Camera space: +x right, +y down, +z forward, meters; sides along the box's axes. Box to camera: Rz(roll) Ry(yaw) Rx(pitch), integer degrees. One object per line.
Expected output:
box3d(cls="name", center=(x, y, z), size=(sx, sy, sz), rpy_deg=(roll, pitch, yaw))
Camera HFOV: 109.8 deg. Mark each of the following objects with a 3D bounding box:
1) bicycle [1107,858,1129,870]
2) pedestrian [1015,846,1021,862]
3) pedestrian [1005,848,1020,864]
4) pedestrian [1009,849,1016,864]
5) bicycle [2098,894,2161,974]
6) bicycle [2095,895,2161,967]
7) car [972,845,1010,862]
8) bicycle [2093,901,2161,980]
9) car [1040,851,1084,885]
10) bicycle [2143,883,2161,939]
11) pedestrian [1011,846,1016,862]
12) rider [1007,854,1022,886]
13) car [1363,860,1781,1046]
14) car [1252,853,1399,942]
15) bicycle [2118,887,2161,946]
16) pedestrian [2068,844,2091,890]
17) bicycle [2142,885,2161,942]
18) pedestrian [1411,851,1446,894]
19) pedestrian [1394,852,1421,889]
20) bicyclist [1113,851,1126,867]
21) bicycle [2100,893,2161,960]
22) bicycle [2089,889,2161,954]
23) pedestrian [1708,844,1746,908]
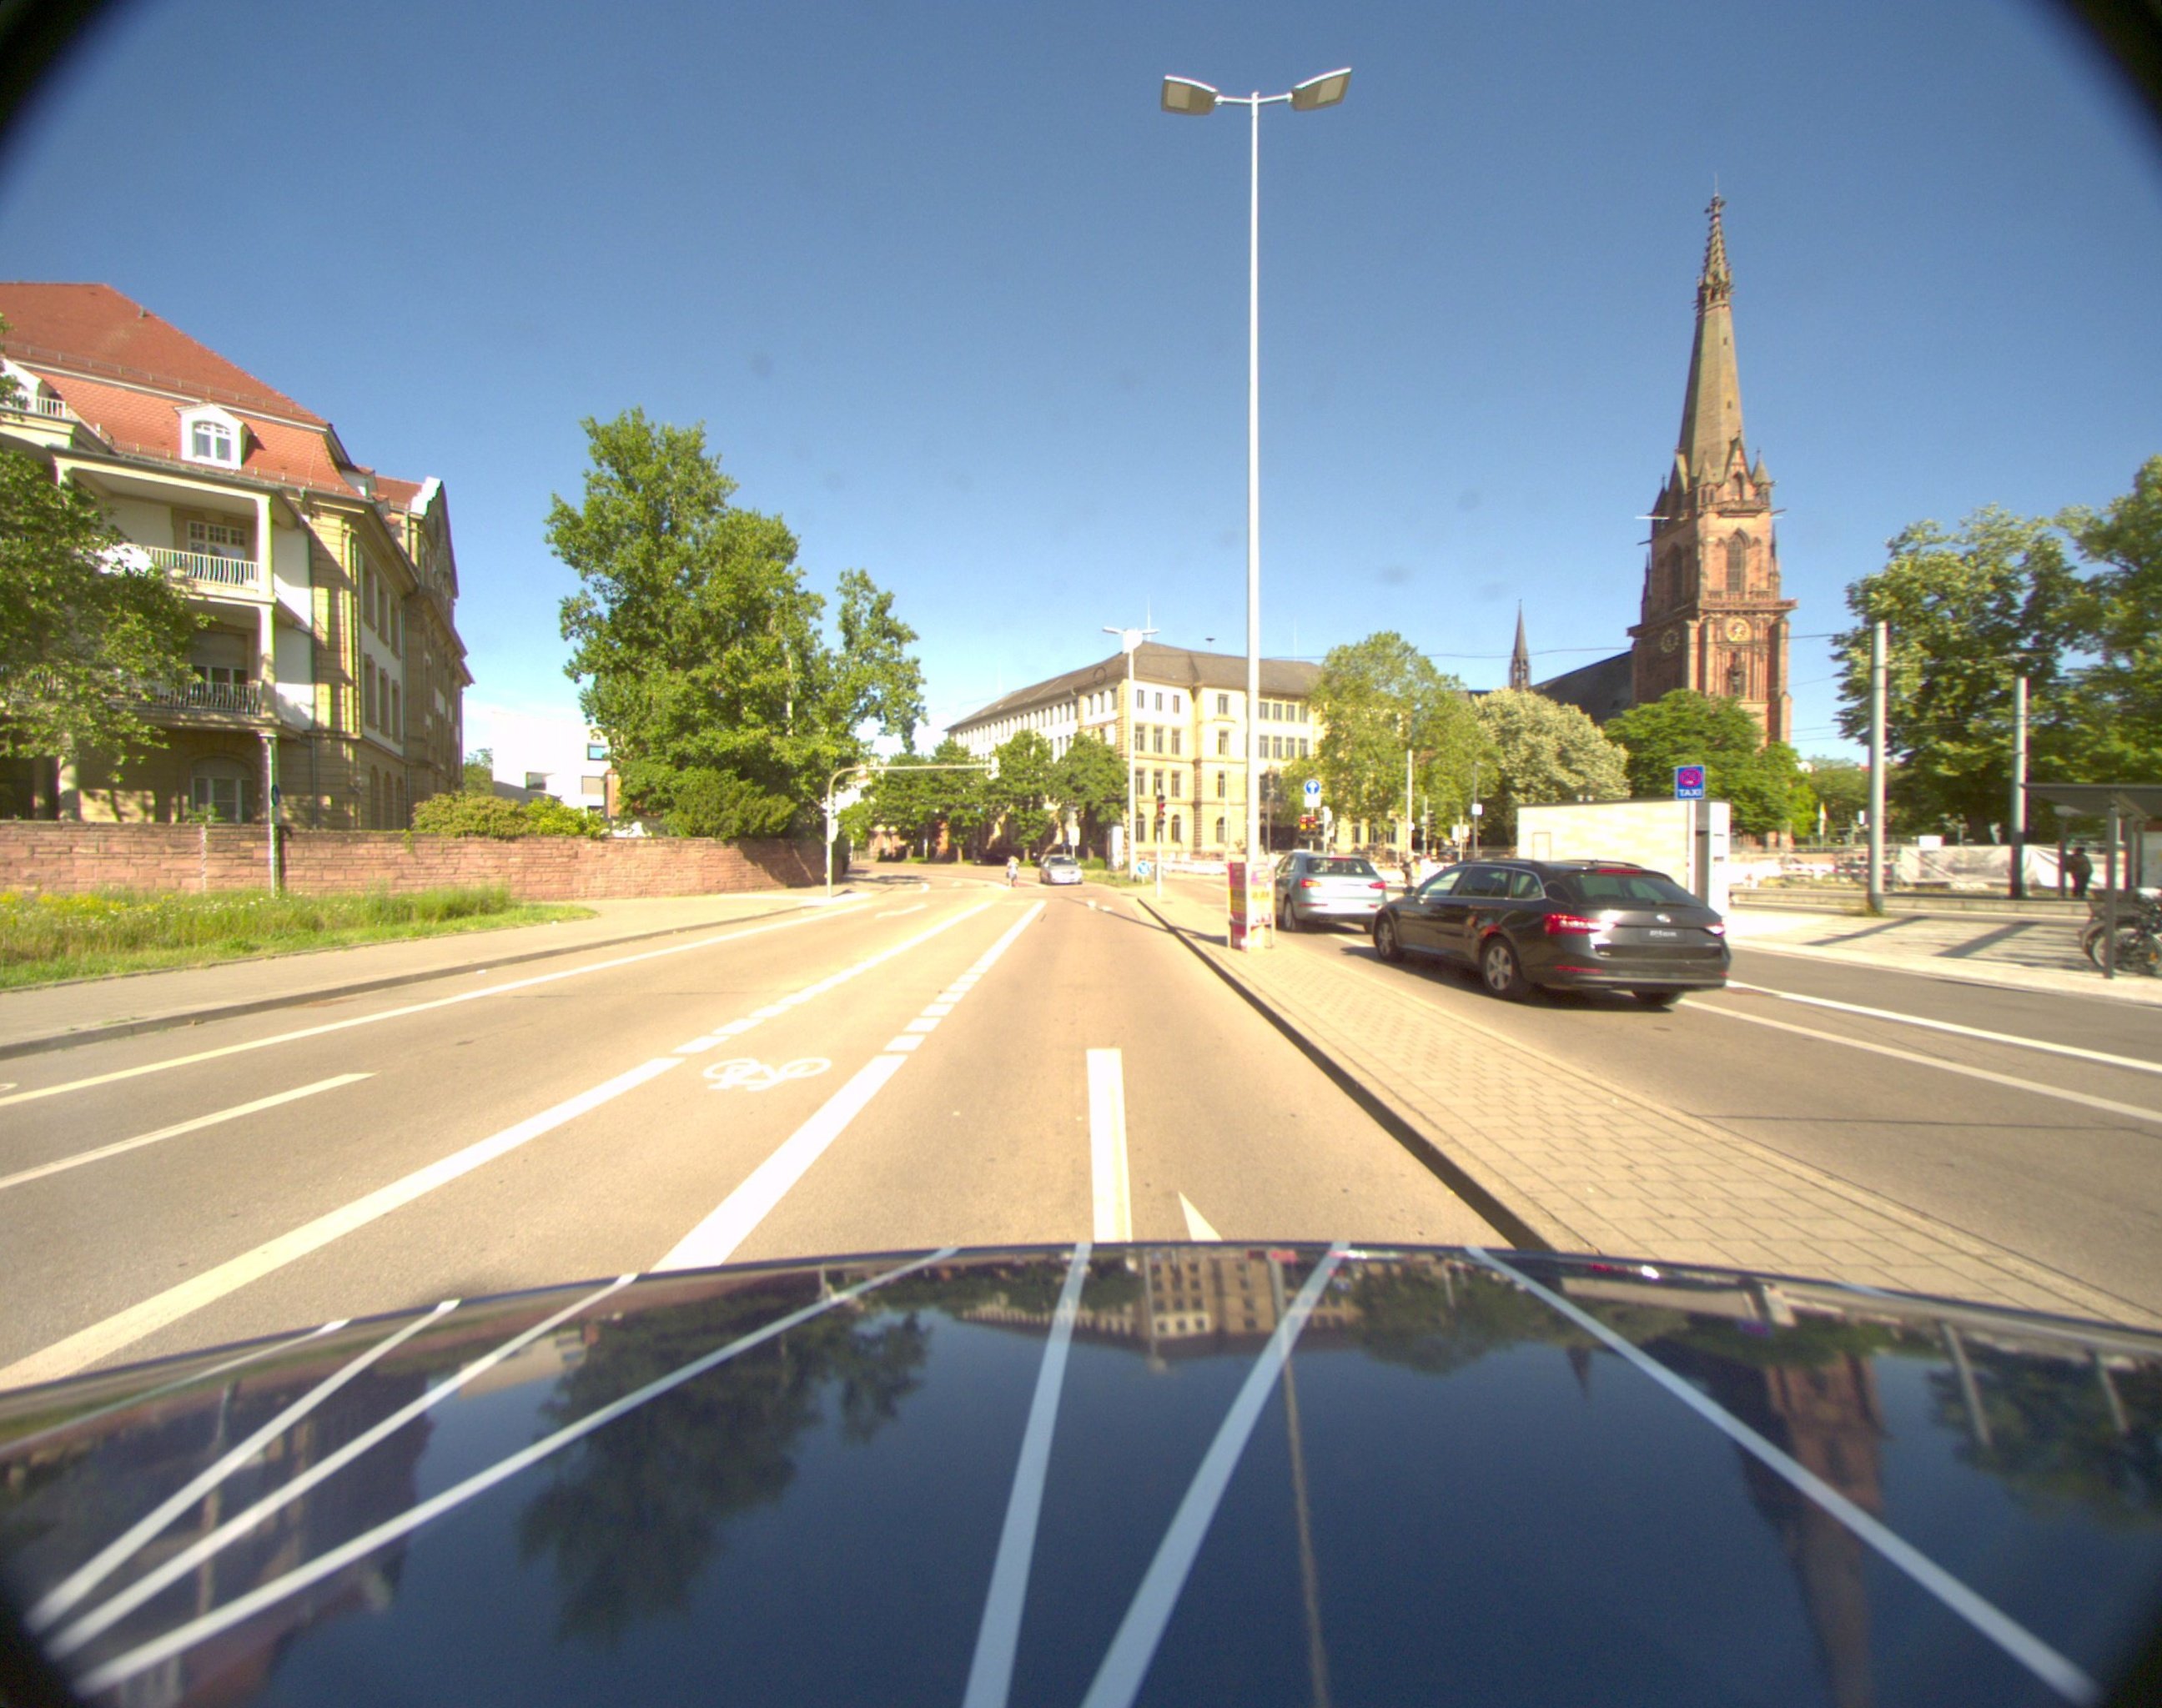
box3d(cls="bicycle", center=(3.227, 0.891, 66.047), size=(1.830, 0.985, 0.735), rpy_deg=(0, 1, 44))
box3d(cls="pedestrian", center=(-7.542, 0.007, 91.157), size=(0.522, 1.865, 0.360), rpy_deg=(-1, 1, -33))
box3d(cls="pedestrian", center=(-7.798, 0.220, 86.373), size=(0.934, 1.812, 1.394), rpy_deg=(1, 1, 45))
box3d(cls="pedestrian", center=(-8.151, 0.262, 90.904), size=(0.677, 1.714, 0.588), rpy_deg=(-1, 3, -22))
box3d(cls="bicycle", center=(15.201, 1.123, 10.285), size=(0.458, 1.055, 1.667), rpy_deg=(-1, 1, -33))
box3d(cls="bicycle", center=(16.073, 1.142, 10.981), size=(0.458, 1.003, 1.667), rpy_deg=(-1, 1, -33))
box3d(cls="car", center=(-10.729, -0.038, 90.765), size=(1.994, 2.002, 4.721), rpy_deg=(0, 1, 32))
box3d(cls="bicycle", center=(14.699, 1.170, 9.970), size=(0.458, 1.003, 1.667), rpy_deg=(-1, 1, -33))
box3d(cls="car", center=(-1.059, 0.712, 41.058), size=(1.707, 1.657, 3.910), rpy_deg=(-1, 1, -11))
box3d(cls="bicycle", center=(20.488, 1.062, 13.615), size=(0.458, 1.003, 1.667), rpy_deg=(-1, 1, -33))
box3d(cls="pedestrian", center=(-8.088, 0.041, 90.817), size=(0.522, 1.882, 0.360), rpy_deg=(-1, 1, -33))
box3d(cls="rider", center=(-3.476, 0.836, 39.696), size=(0.658, 1.610, 0.989), rpy_deg=(-1, 1, 1))
box3d(cls="car", center=(5.060, 0.872, 8.803), size=(1.793, 1.490, 4.574), rpy_deg=(1, 1, -1))
box3d(cls="car", center=(4.874, 0.786, 15.780), size=(1.859, 1.533, 4.241), rpy_deg=(1, 1, 3))
box3d(cls="bicycle", center=(19.127, 1.098, 12.953), size=(0.458, 1.003, 1.667), rpy_deg=(-1, 1, -33))
box3d(cls="pedestrian", center=(37.571, 0.498, 28.583), size=(0.404, 1.711, 0.419), rpy_deg=(1, 1, 38))
box3d(cls="bicycle", center=(19.894, 1.074, 13.205), size=(0.458, 1.003, 1.667), rpy_deg=(-1, 1, -33))
box3d(cls="pedestrian", center=(14.854, 0.772, 32.494), size=(0.977, 1.769, 1.131), rpy_deg=(0, 1, -1))
box3d(cls="pedestrian", center=(15.648, 0.788, 36.425), size=(0.977, 1.769, 0.803), rpy_deg=(0, 1, -1))
box3d(cls="bicyclist", center=(3.349, 0.425, 65.935), size=(0.893, 1.377, 0.735), rpy_deg=(1, 1, 44))
box3d(cls="bicycle", center=(17.260, 1.147, 11.660), size=(0.458, 1.003, 1.899), rpy_deg=(-1, 1, -33))
box3d(cls="bicycle", center=(17.914, 1.126, 12.433), size=(0.458, 1.003, 1.667), rpy_deg=(-1, 1, -33))
box3d(cls="pedestrian", center=(17.983, 0.596, 21.157), size=(0.760, 1.757, 0.661), rpy_deg=(1, 1, 43))
